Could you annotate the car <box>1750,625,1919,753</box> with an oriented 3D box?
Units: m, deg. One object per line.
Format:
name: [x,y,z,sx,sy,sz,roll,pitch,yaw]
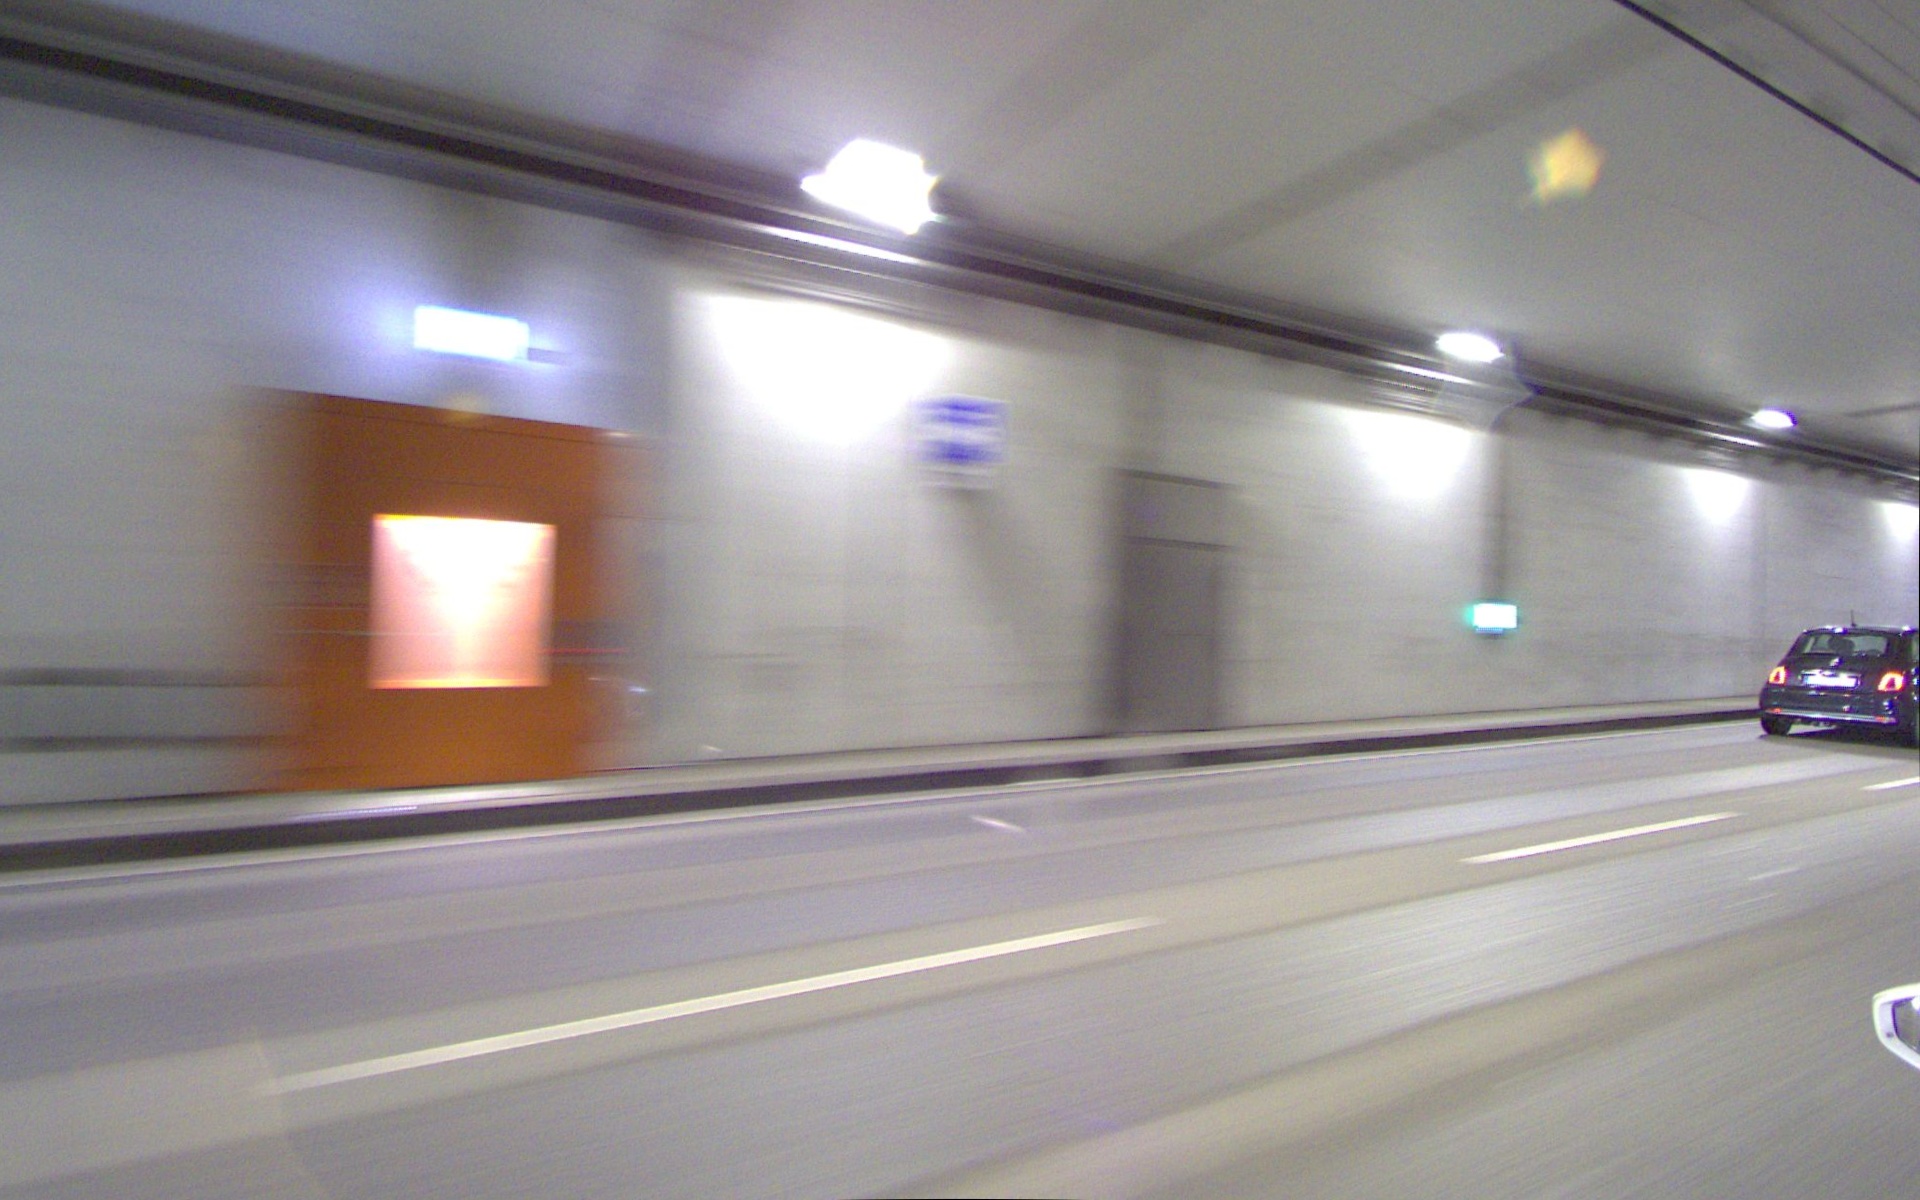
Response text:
car: [12.205,1.088,13.354,3.533,1.473,1.603,1,-1,-32]
